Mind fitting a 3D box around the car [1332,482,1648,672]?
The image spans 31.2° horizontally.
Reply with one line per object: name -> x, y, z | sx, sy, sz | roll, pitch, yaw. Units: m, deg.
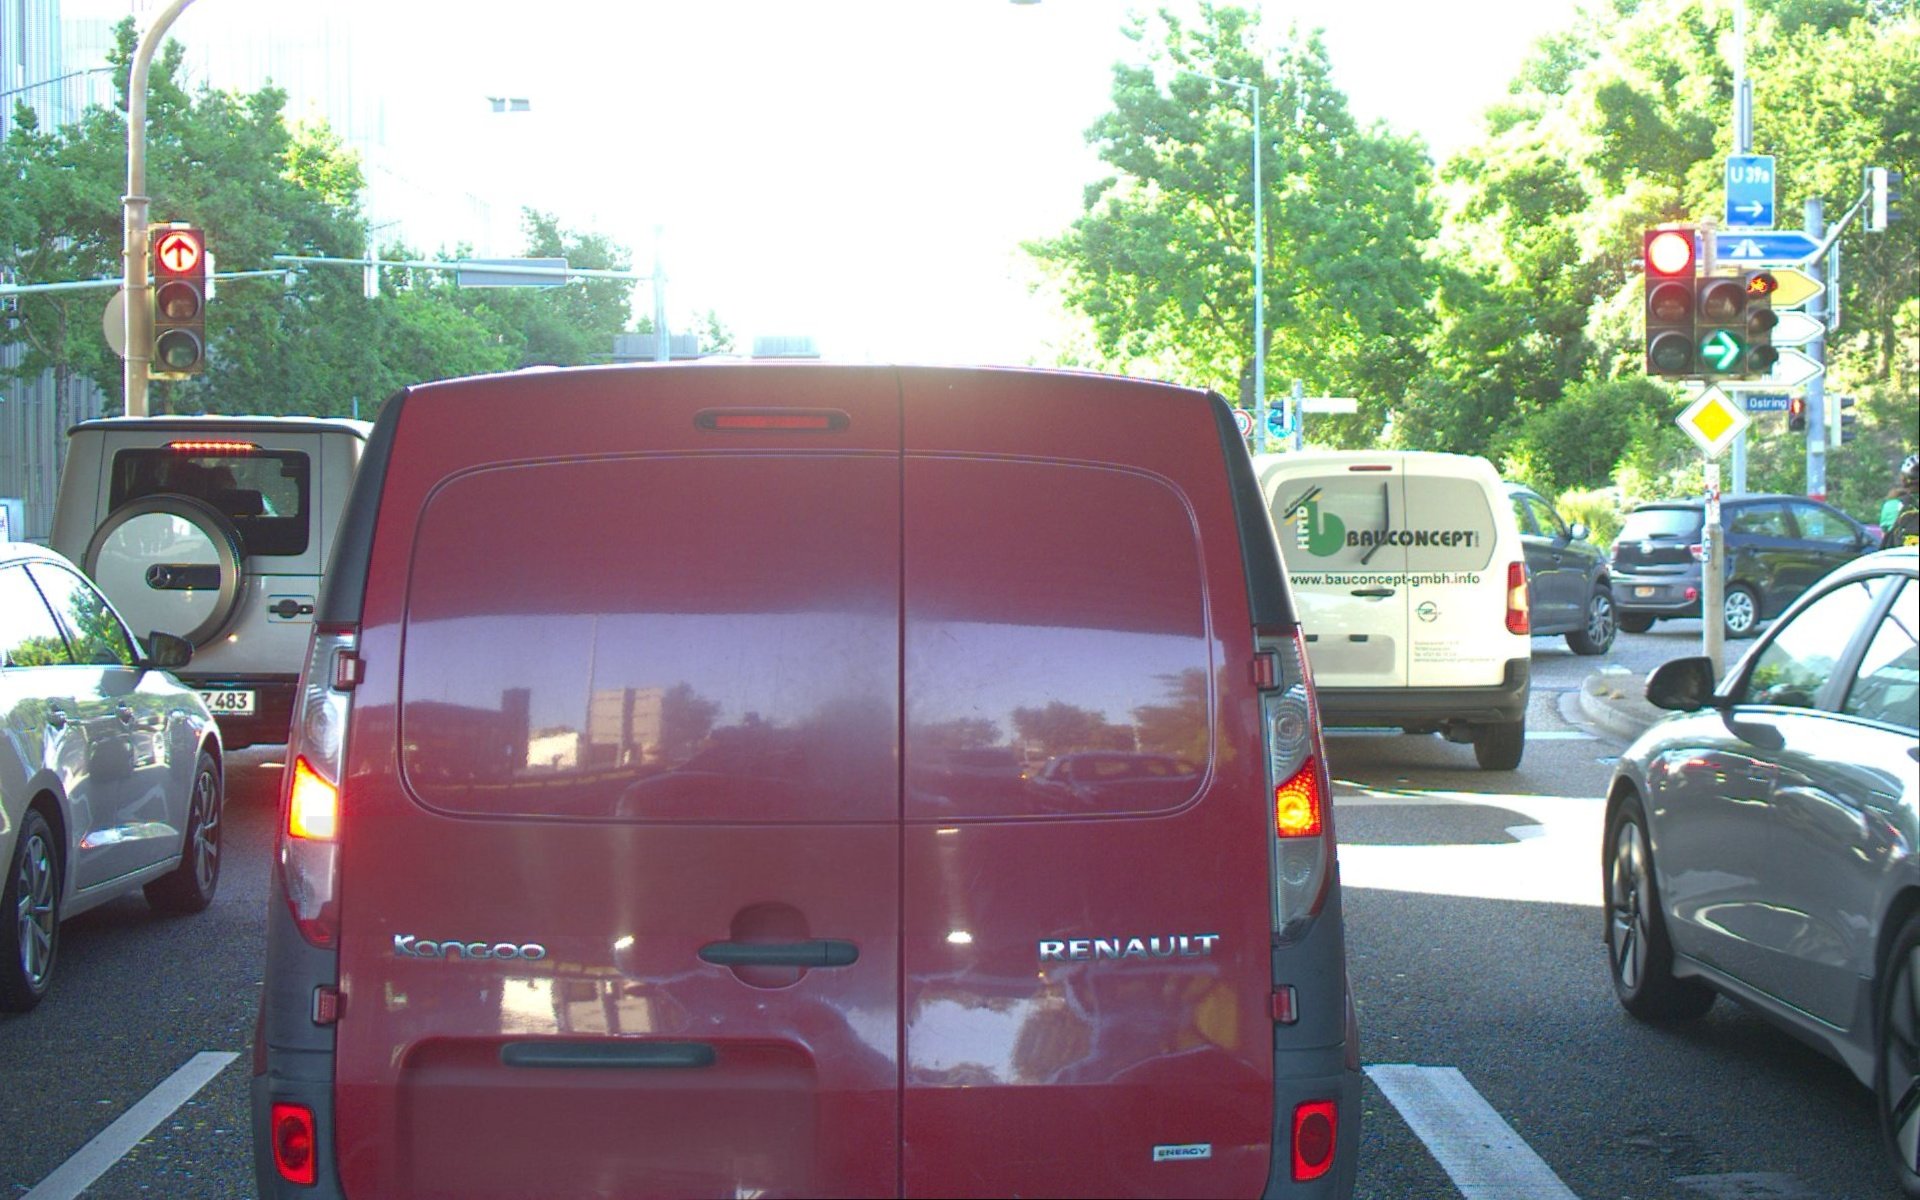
car -> 5.075, -0.279, 32.504 | 1.807, 1.616, 4.102 | 1, 3, 26

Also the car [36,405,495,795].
car -> -3.677, -0.039, 18.830 | 1.813, 1.897, 3.814 | 1, 1, -1

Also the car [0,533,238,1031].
car -> -3.620, 0.481, 11.482 | 1.692, 1.405, 3.814 | 1, 1, -1

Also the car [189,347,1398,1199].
car -> -0.265, 0.487, 6.937 | 1.719, 1.758, 4.000 | 1, 1, -1

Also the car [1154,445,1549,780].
car -> 2.284, -0.002, 21.156 | 1.813, 1.827, 4.301 | 1, 2, -1

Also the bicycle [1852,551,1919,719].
bicycle -> 6.047, 0.211, 21.677 | 0.677, 1.020, 1.528 | 1, 1, 10

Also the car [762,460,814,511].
car -> -7.116, -4.735, 142.494 | 1.993, 2.007, 4.000 | 1, 1, -1

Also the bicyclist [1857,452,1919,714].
bicyclist -> 6.056, -0.107, 21.706 | 0.677, 1.623, 0.644 | 1, 0, 10

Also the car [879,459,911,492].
car -> -4.137, -7.985, 220.502 | 1.993, 2.007, 4.000 | 1, 1, -1

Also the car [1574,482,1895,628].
car -> 8.308, -0.467, 36.672 | 1.842, 1.459, 3.879 | 2, 1, 38

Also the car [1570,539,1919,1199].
car -> 2.907, 0.593, 8.571 | 1.745, 1.451, 4.665 | 1, 1, -2
